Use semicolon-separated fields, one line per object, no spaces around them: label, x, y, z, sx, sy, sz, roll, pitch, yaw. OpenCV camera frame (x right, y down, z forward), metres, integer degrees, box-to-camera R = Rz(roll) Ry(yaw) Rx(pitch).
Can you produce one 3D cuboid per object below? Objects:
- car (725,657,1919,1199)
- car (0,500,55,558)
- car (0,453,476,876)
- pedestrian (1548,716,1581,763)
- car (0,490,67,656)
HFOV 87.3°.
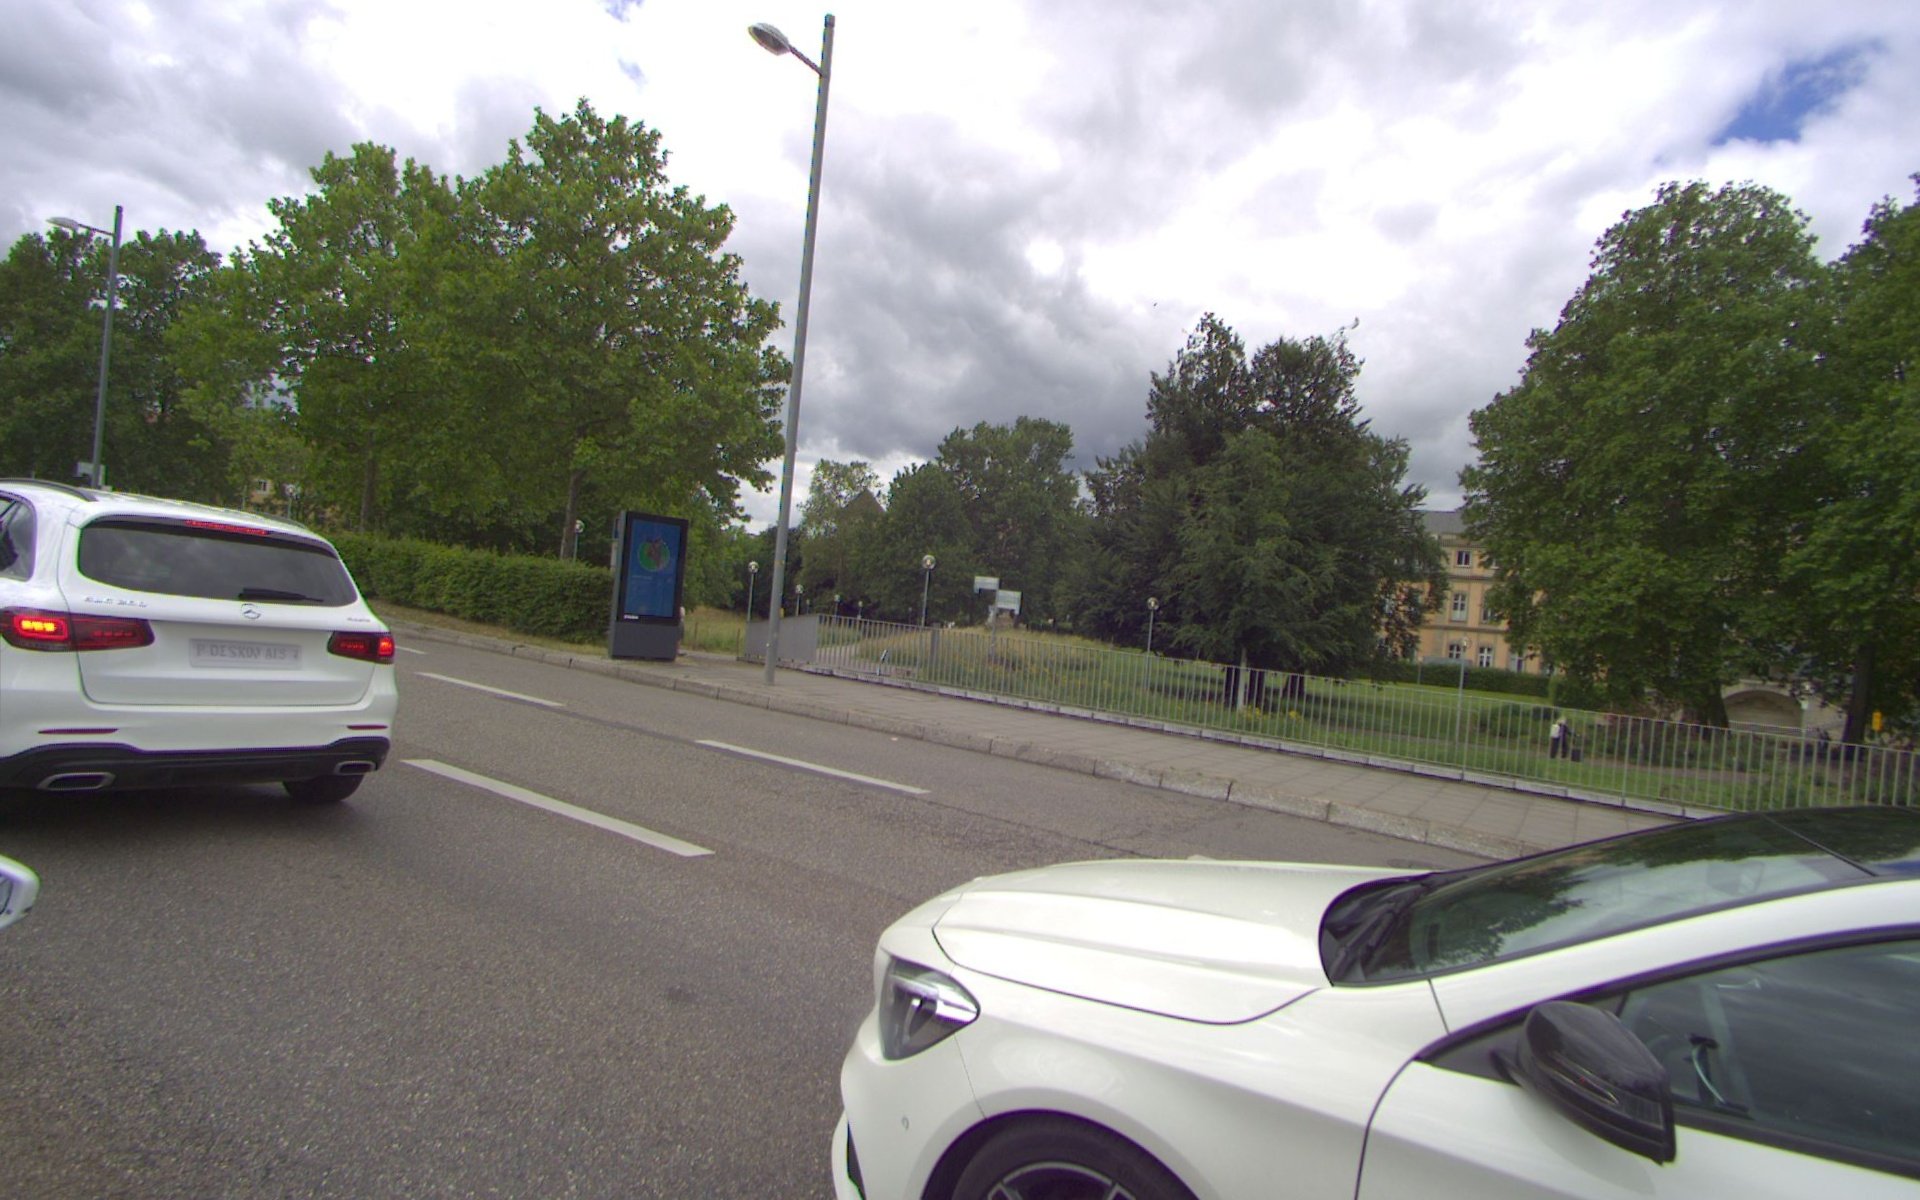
car;1.848;1.098;1.830;4.454;1.436;1.796;5;-2;33
car;-29.167;-2.232;30.249;4.458;1.476;1.933;5;-3;37
car;-5.116;0.130;5.945;4.416;1.673;1.929;7;-1;33
pedestrian;22.458;5.158;37.388;0.645;1.619;0.684;6;-2;-1
car;-11.303;-0.492;10.383;4.417;1.569;1.929;6;-2;33
